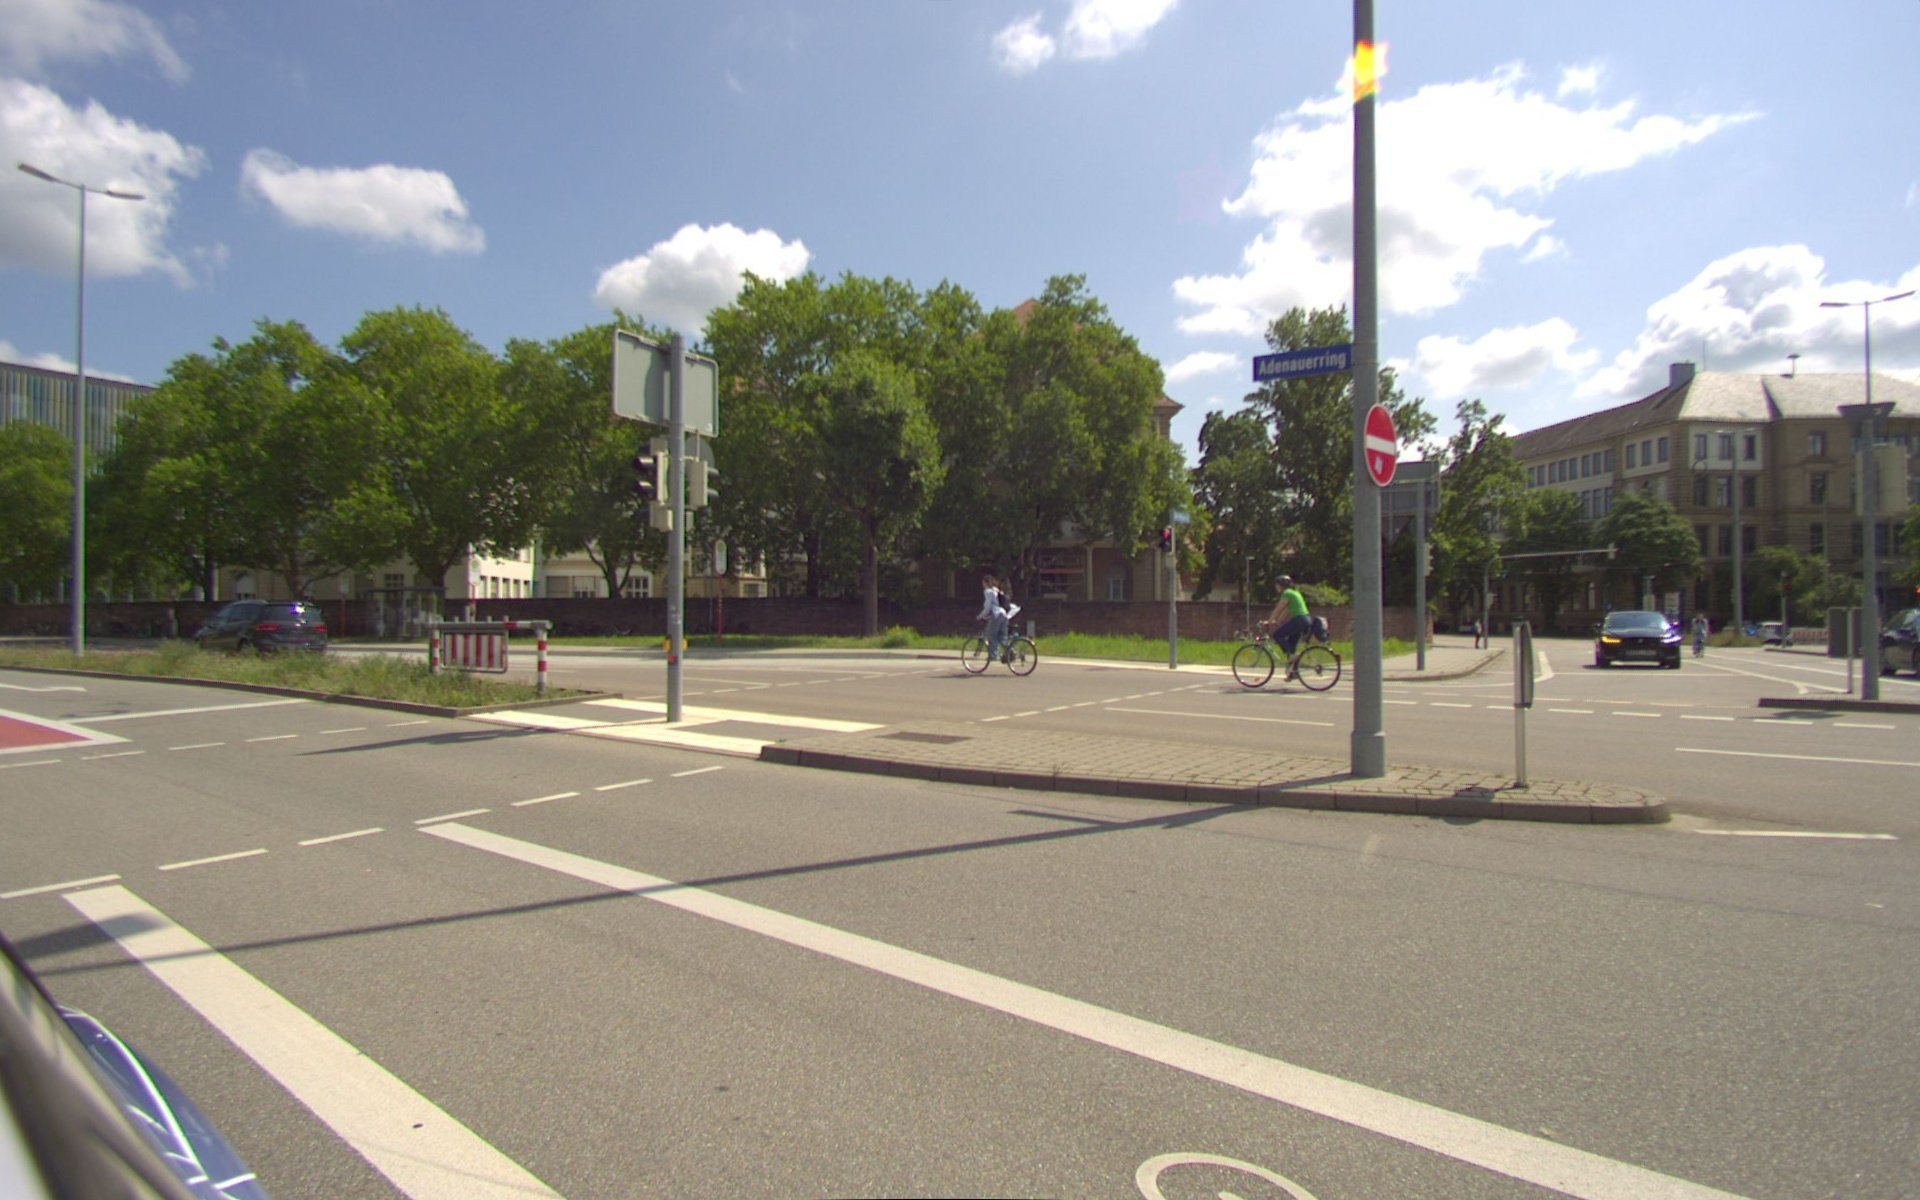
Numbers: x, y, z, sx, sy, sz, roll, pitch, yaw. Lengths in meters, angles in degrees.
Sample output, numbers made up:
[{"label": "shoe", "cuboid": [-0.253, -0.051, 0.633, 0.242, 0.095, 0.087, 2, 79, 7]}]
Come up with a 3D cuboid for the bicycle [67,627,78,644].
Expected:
[{"label": "bicycle", "cuboid": [-58.820, 2.328, 67.058, 0.376, 1.116, 1.674, 1, -2, -36]}]

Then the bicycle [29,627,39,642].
[{"label": "bicycle", "cuboid": [-63.267, 2.369, 69.145, 0.324, 1.025, 1.674, 1, -2, -36]}]

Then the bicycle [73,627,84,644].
[{"label": "bicycle", "cuboid": [-58.081, 2.325, 66.706, 0.376, 1.116, 1.674, 1, -2, -36]}]

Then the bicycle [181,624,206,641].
[{"label": "bicycle", "cuboid": [-47.042, 1.973, 62.126, 1.658, 1.051, 0.380, -1, -1, 21]}]

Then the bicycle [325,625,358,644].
[{"label": "bicycle", "cuboid": [-35.516, 1.974, 58.097, 1.940, 1.051, 0.396, 0, -1, 16]}]

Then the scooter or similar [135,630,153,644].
[{"label": "scooter or similar", "cuboid": [-50.702, 2.296, 62.869, 1.062, 0.850, 0.351, -1, -1, 20]}]

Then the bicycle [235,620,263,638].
[{"label": "bicycle", "cuboid": [-42.440, 1.736, 60.409, 1.748, 1.051, 0.395, -1, -1, 19]}]

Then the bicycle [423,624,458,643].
[{"label": "bicycle", "cuboid": [-28.902, 1.846, 56.303, 1.939, 1.051, 0.396, 0, -1, 14]}]

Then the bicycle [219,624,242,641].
[{"label": "bicycle", "cuboid": [-43.944, 1.948, 60.932, 1.405, 1.051, 0.375, -1, -1, 19]}]

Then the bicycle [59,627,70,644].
[{"label": "bicycle", "cuboid": [-59.311, 2.331, 67.048, 0.376, 1.116, 1.674, 1, -2, -36]}]

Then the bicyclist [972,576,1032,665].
[{"label": "bicyclist", "cuboid": [0.800, 0.396, 19.212, 0.841, 1.631, 0.769, -1, -2, 36]}]

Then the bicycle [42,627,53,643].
[{"label": "bicycle", "cuboid": [-61.739, 2.366, 68.468, 0.324, 1.025, 1.674, 1, -2, -36]}]

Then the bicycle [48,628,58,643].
[{"label": "bicycle", "cuboid": [-61.086, 2.370, 68.170, 0.324, 1.025, 1.674, 1, -2, -36]}]

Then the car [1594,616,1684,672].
[{"label": "car", "cuboid": [19.891, 1.252, 29.806, 1.993, 1.497, 4.461, -1, -2, 32]}]

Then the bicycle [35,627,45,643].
[{"label": "bicycle", "cuboid": [-62.585, 2.367, 68.860, 0.324, 1.025, 1.674, 1, -2, -36]}]

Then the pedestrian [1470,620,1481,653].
[{"label": "pedestrian", "cuboid": [29.702, 2.103, 58.357, 0.435, 1.834, 0.566, 0, 0, 15]}]

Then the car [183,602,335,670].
[{"label": "car", "cuboid": [-18.175, 0.899, 26.197, 4.143, 1.636, 1.866, -1, -1, 34]}]

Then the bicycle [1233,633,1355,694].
[{"label": "bicycle", "cuboid": [5.194, 0.966, 15.806, 1.743, 0.896, 0.561, -2, -2, 43]}]

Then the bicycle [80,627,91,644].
[{"label": "bicycle", "cuboid": [-57.306, 2.320, 66.325, 0.376, 1.116, 1.674, 1, -2, -36]}]

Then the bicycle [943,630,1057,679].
[{"label": "bicycle", "cuboid": [0.749, 1.014, 19.230, 2.104, 0.896, 0.769, -1, -2, 36]}]

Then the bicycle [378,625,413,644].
[{"label": "bicycle", "cuboid": [-31.883, 1.961, 57.163, 1.939, 1.051, 0.396, 0, -1, 14]}]

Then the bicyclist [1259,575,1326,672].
[{"label": "bicyclist", "cuboid": [5.194, 0.370, 15.818, 0.837, 1.473, 0.559, -2, -2, 43]}]

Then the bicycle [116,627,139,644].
[{"label": "bicycle", "cuboid": [-53.062, 2.269, 64.534, 1.659, 1.116, 0.380, -1, -1, 22]}]

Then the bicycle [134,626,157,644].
[{"label": "bicycle", "cuboid": [-51.474, 2.220, 63.955, 1.658, 1.116, 0.380, -1, -1, 21]}]

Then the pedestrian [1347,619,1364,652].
[{"label": "pedestrian", "cuboid": [21.228, 1.905, 54.293, 0.669, 1.708, 0.489, 0, 0, -6]}]

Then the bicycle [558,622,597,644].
[{"label": "bicycle", "cuboid": [-20.683, 1.774, 54.702, 2.016, 1.146, 0.397, 0, -1, 9]}]

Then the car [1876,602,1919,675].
[{"label": "car", "cuboid": [20.888, 0.787, 20.758, 1.991, 1.497, 4.624, -1, -2, 28]}]

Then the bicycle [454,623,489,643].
[{"label": "bicycle", "cuboid": [-26.951, 1.812, 55.794, 1.939, 1.051, 0.396, 0, -1, 14]}]

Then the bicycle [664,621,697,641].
[{"label": "bicycle", "cuboid": [-14.860, 1.635, 53.809, 1.667, 1.038, 0.397, 0, -1, 7]}]

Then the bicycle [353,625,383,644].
[{"label": "bicycle", "cuboid": [-33.712, 1.963, 57.629, 1.624, 1.051, 0.396, 0, -1, 14]}]

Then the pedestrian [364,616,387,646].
[{"label": "pedestrian", "cuboid": [-31.823, 1.708, 55.105, 0.771, 1.623, 0.722, 0, -1, 4]}]

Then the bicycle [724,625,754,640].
[{"label": "bicycle", "cuboid": [-11.671, 1.733, 53.481, 1.525, 0.795, 0.397, 0, -1, 7]}]

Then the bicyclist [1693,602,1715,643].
[{"label": "bicyclist", "cuboid": [28.754, 0.856, 39.128, 0.666, 1.545, 0.639, 0, 0, 35]}]

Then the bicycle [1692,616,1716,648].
[{"label": "bicycle", "cuboid": [28.767, 1.238, 39.149, 0.666, 1.155, 2.044, 0, 0, 35]}]

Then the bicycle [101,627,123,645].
[{"label": "bicycle", "cuboid": [-54.865, 2.321, 65.459, 1.660, 1.116, 0.379, -1, -1, 24]}]

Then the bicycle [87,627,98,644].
[{"label": "bicycle", "cuboid": [-56.601, 2.317, 66.031, 0.376, 1.116, 1.674, 1, -2, -36]}]

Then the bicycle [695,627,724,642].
[{"label": "bicycle", "cuboid": [-13.285, 1.810, 53.628, 1.448, 0.795, 0.397, 0, -1, 7]}]

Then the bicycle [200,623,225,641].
[{"label": "bicycle", "cuboid": [-45.400, 1.950, 61.483, 1.658, 1.051, 0.380, -1, -1, 21]}]
